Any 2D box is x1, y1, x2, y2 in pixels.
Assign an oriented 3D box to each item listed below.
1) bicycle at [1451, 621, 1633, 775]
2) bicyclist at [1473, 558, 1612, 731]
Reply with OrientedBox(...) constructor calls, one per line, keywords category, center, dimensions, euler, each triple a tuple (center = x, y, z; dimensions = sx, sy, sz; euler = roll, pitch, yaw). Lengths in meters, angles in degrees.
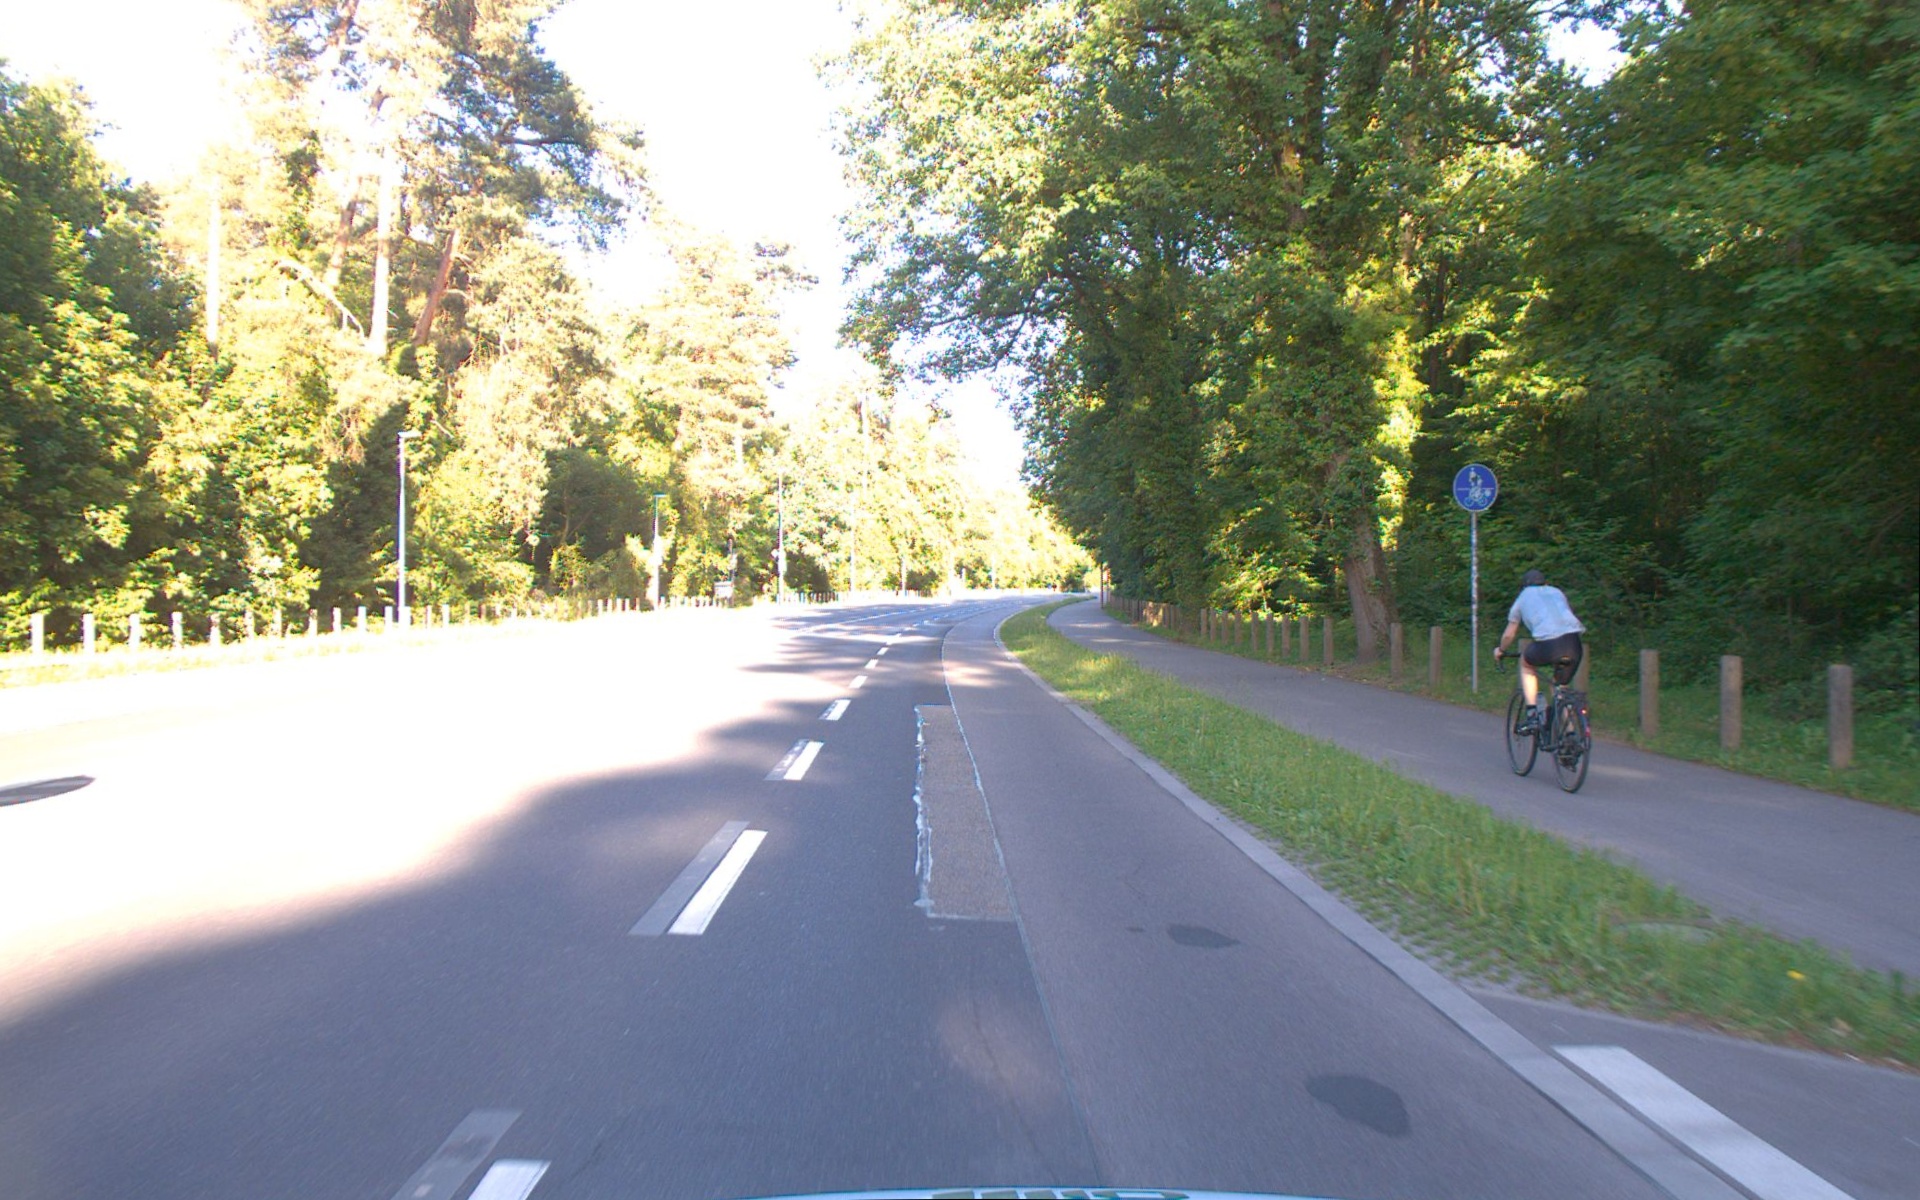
OrientedBox(category="bicycle", center=(4.577, 0.735, 13.171), dimensions=(0.697, 1.074, 2.053), euler=(0, 1, -1))
OrientedBox(category="bicyclist", center=(4.584, 0.330, 13.089), dimensions=(0.697, 1.311, 1.104), euler=(0, 0, -1))
